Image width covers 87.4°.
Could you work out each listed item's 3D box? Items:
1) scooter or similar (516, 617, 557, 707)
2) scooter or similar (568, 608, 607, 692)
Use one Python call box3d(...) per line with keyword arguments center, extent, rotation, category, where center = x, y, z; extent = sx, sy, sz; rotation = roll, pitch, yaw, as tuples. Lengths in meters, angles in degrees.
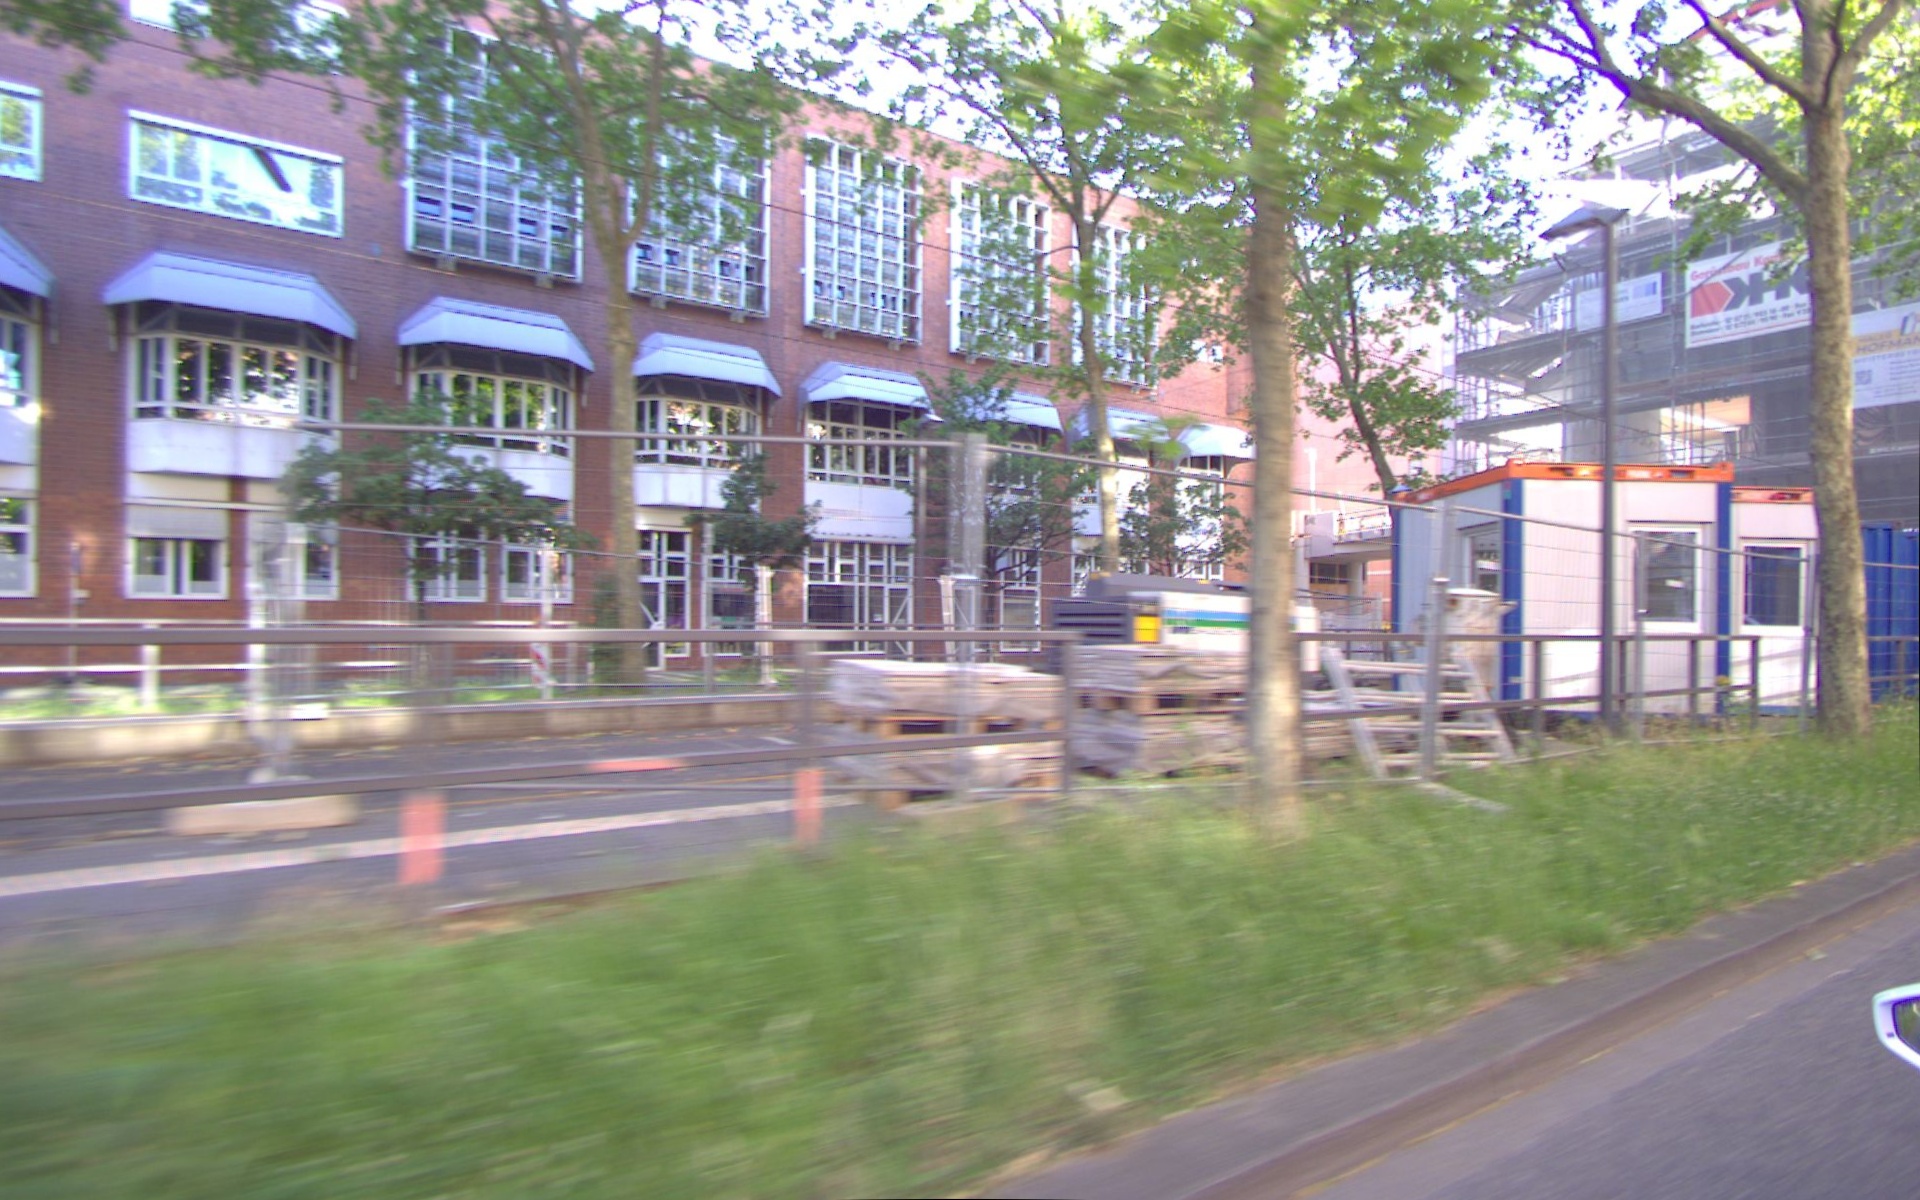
box3d(center=(-8.481, 1.234, 20.113), extent=(0.570, 1.749, 0.525), rotation=(2, 0, -42), category="scooter or similar")
box3d(center=(-7.935, 1.051, 21.403), extent=(0.570, 1.749, 0.525), rotation=(2, 0, -42), category="scooter or similar")
